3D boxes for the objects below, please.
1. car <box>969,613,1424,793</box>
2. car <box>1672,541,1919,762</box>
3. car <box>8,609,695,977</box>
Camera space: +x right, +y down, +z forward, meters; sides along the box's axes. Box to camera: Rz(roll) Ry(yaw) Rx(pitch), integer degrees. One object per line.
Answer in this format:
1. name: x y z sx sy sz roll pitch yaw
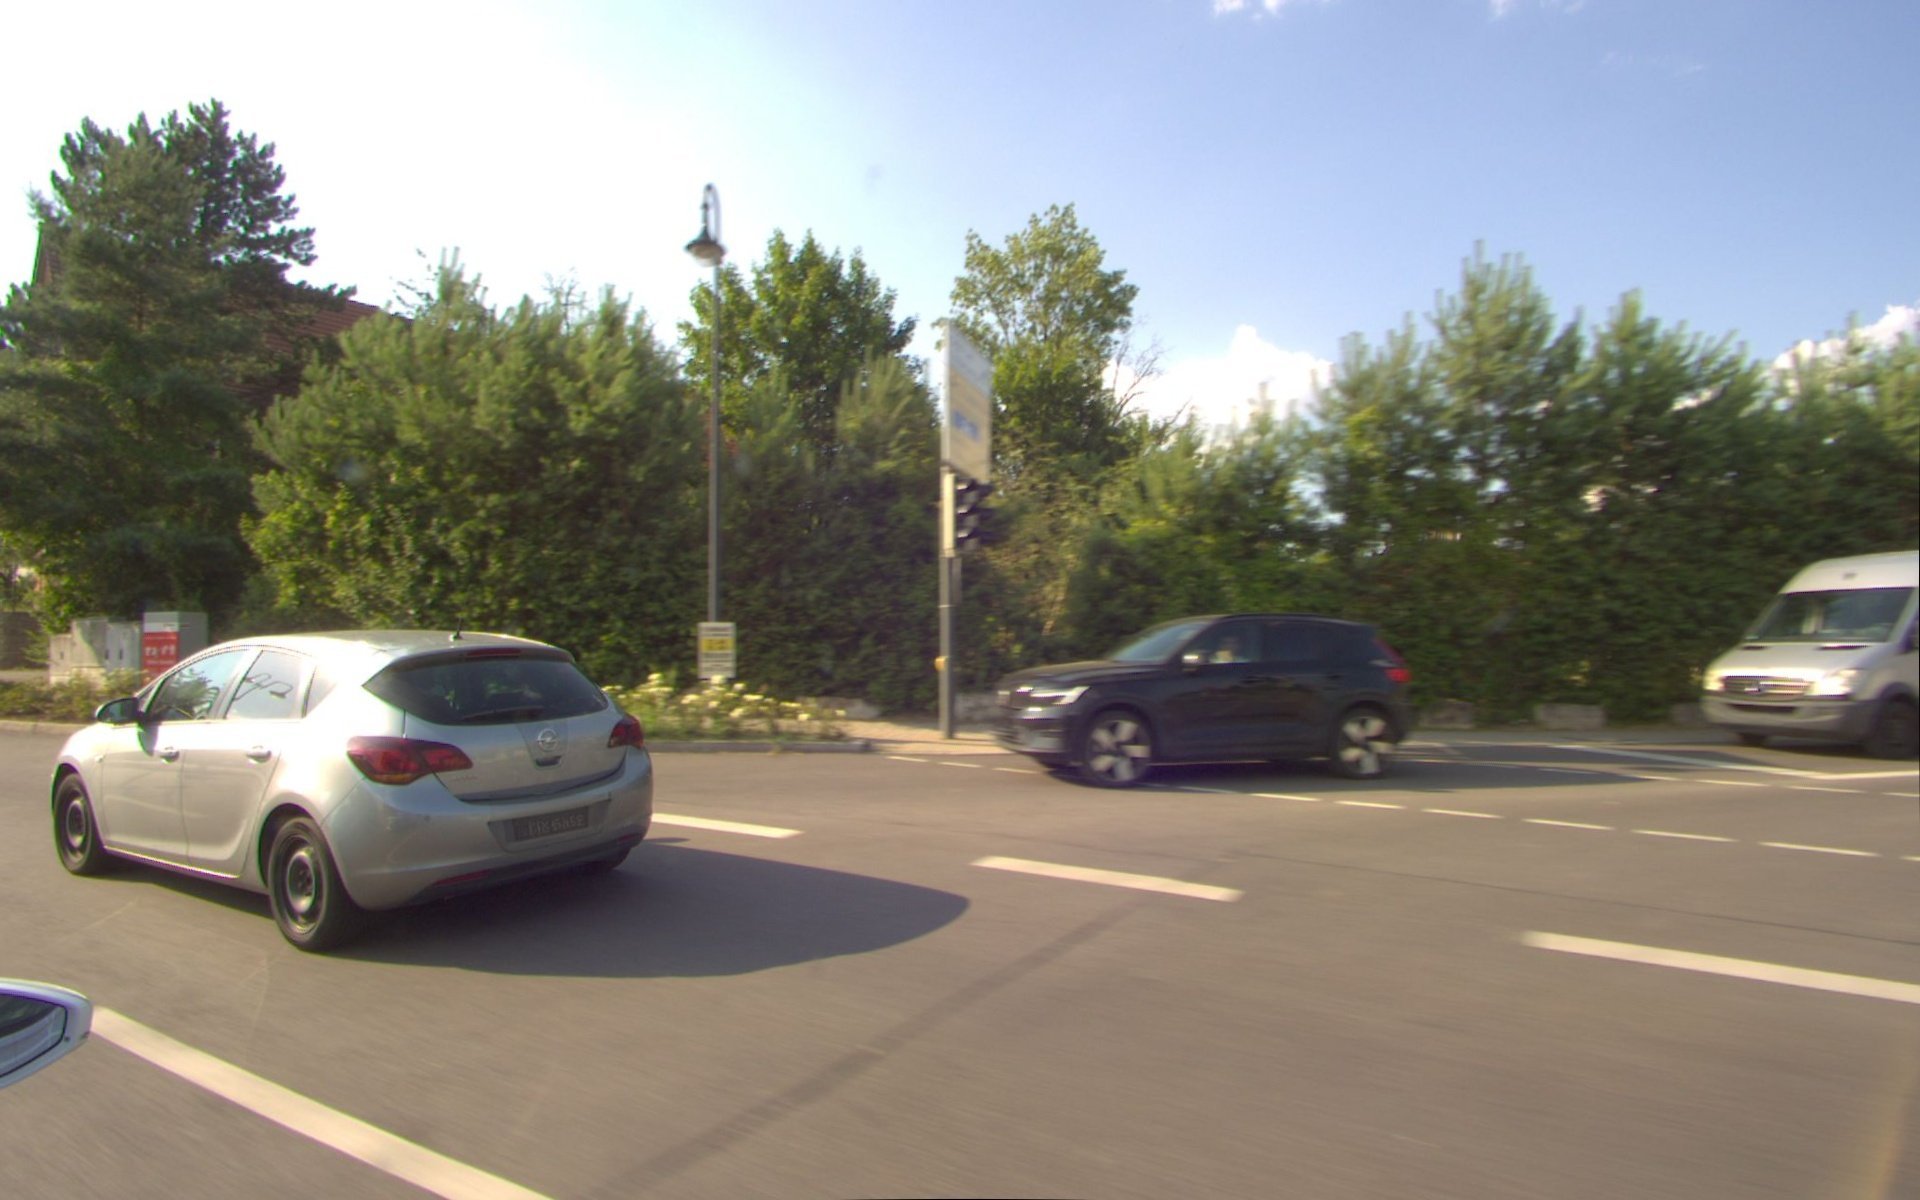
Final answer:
1. car: 2.344 0.954 10.231 4.194 1.587 1.790 1 -1 -15
2. car: 12.799 0.652 13.380 5.754 2.554 2.192 1 -1 -15
3. car: -3.734 0.820 5.952 4.242 1.510 1.719 0 -1 31
